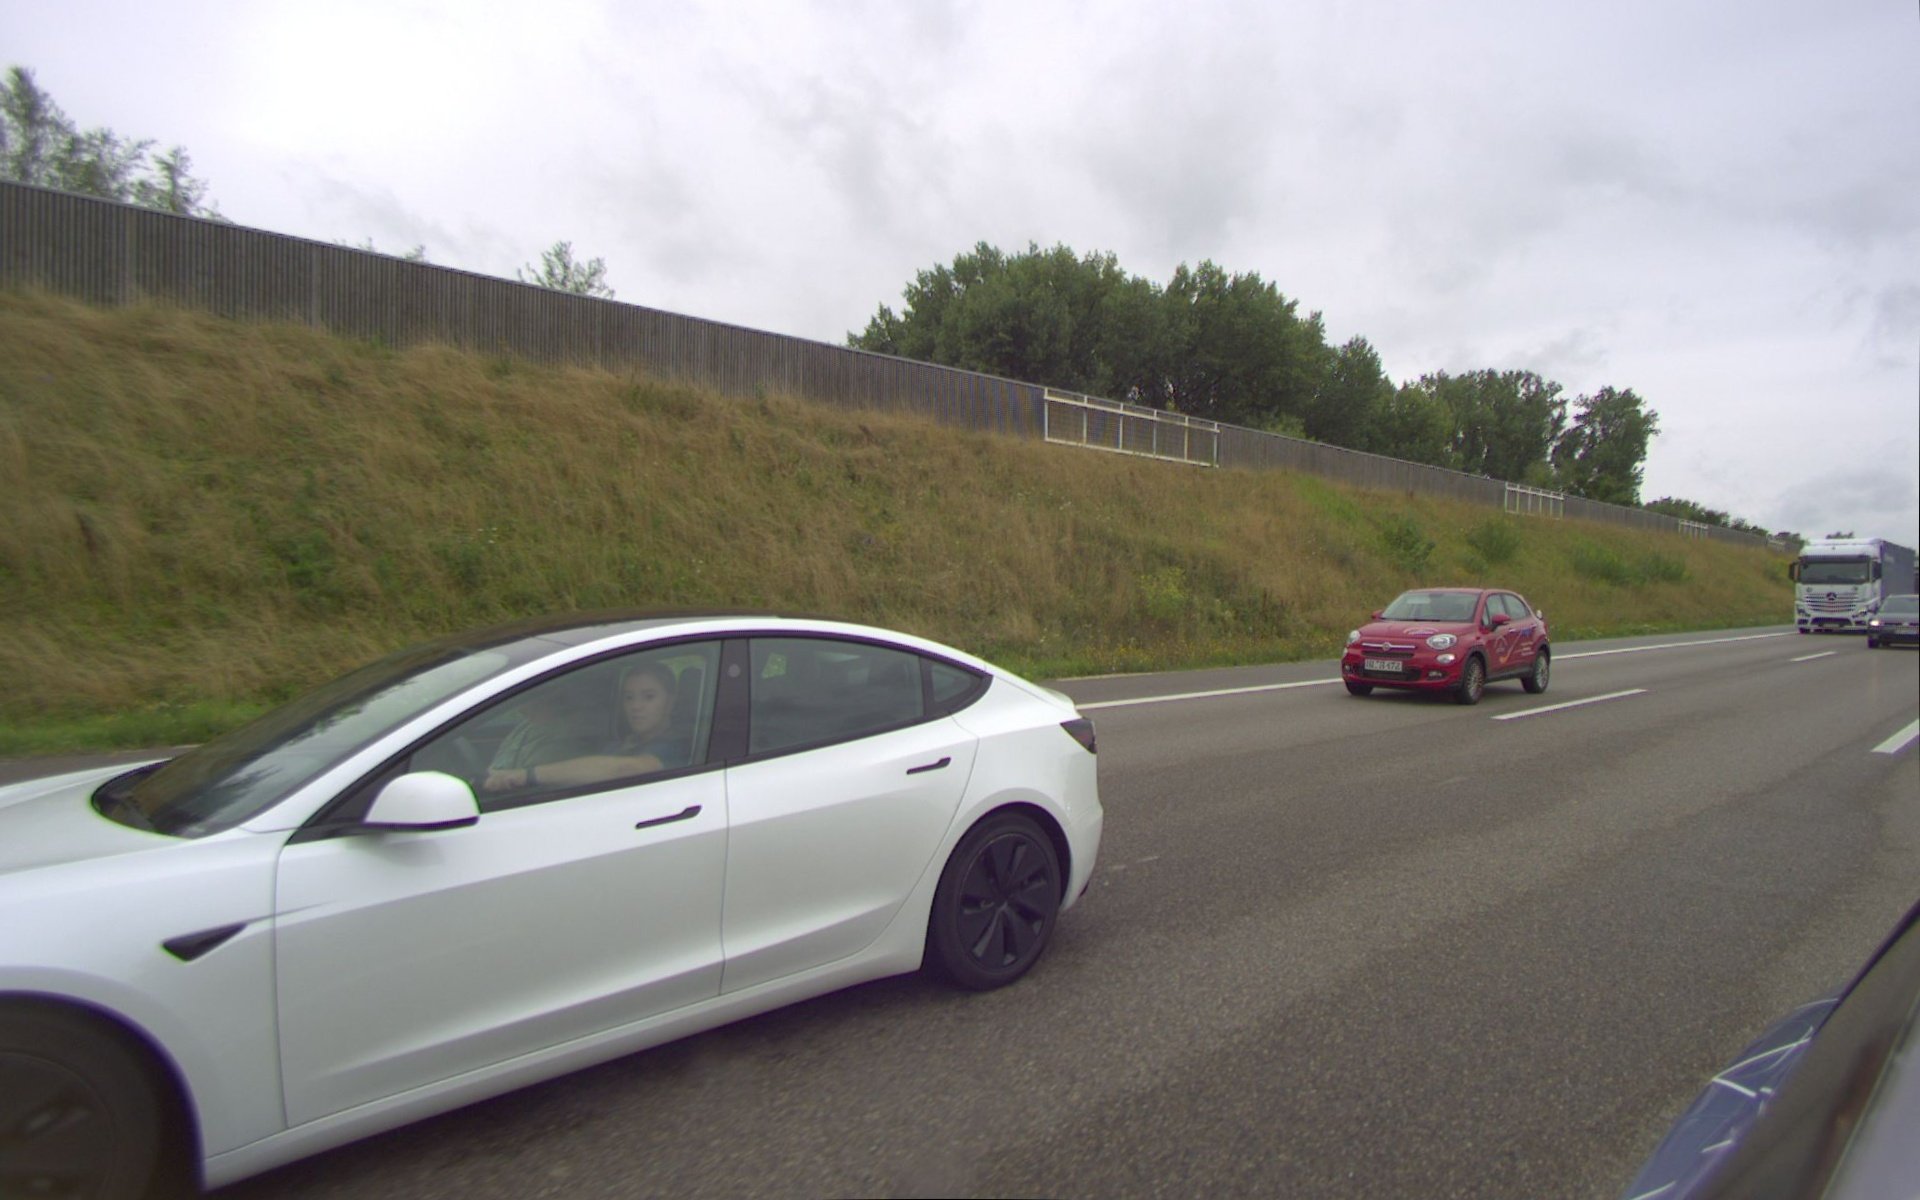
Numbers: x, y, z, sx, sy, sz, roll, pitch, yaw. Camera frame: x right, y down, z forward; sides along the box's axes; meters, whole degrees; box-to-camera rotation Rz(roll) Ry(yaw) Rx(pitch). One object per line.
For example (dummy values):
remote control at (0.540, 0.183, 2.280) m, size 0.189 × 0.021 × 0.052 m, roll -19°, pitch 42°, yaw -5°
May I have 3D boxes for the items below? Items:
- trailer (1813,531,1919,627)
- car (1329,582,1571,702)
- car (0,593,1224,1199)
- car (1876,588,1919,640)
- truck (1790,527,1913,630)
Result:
trailer at (44.983, -0.991, 49.230) m, size 14.957 × 4.077 × 3.087 m, roll -1°, pitch 0°, yaw -41°
car at (7.387, 0.520, 15.108) m, size 3.930 × 1.554 × 1.877 m, roll -1°, pitch 1°, yaw -41°
car at (-1.220, 0.681, 3.732) m, size 4.728 × 1.380 × 1.877 m, roll -1°, pitch 1°, yaw -40°
car at (29.539, 0.379, 30.780) m, size 4.406 × 1.507 × 1.928 m, roll -1°, pitch 1°, yaw -40°
truck at (38.348, -0.899, 43.438) m, size 6.835 × 4.077 × 3.087 m, roll -1°, pitch 0°, yaw -41°
